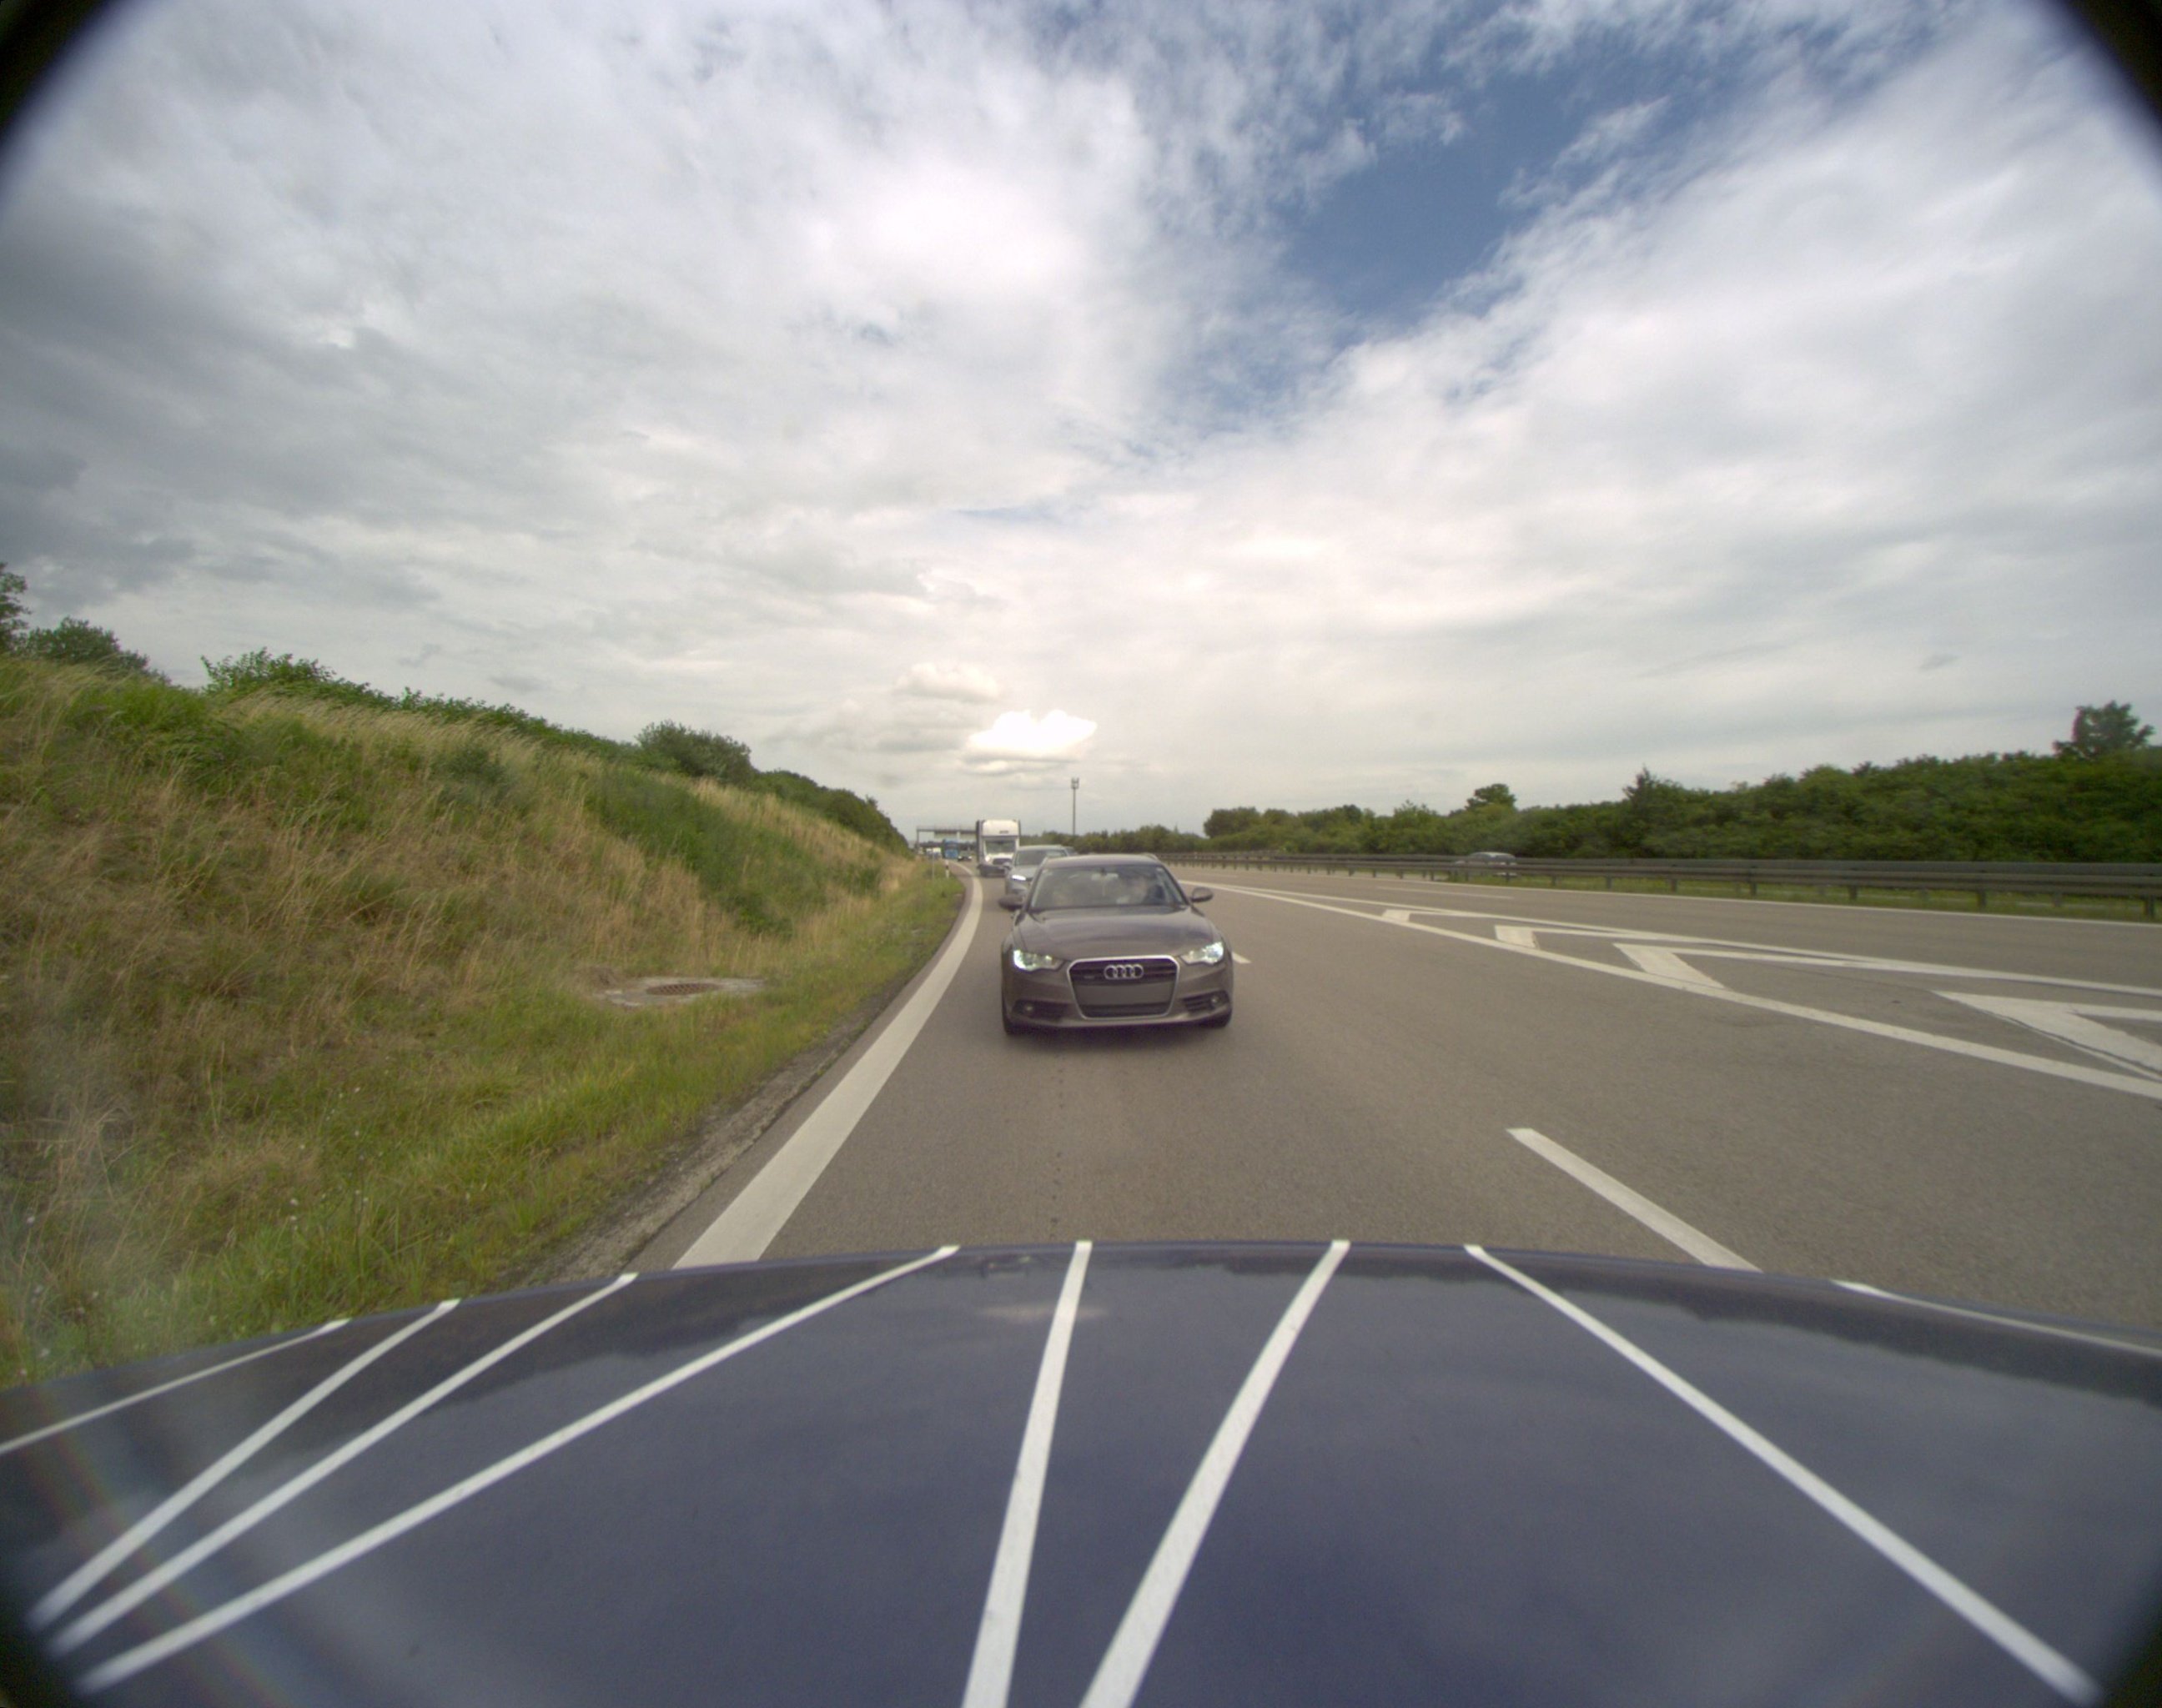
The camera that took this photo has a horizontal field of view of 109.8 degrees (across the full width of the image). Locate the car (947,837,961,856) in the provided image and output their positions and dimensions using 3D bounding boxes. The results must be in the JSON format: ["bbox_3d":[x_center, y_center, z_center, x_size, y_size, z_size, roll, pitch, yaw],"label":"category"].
[{"bbox_3d":[-25.605,-1.429,152.801,2.507,3.689,7.693,-1,1,-12],"label":"car"}]

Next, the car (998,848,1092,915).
[{"bbox_3d":[-1.068,0.638,20.160,2.000,1.567,3.996,-1,1,-10],"label":"car"}]

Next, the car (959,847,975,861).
[{"bbox_3d":[-16.110,-0.034,107.199,2.000,2.002,3.995,-1,1,-11],"label":"car"}]

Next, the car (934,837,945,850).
[{"bbox_3d":[-40.639,-2.951,217.545,2.948,3.447,6.563,-1,1,-12],"label":"car"}]

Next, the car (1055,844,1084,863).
[{"bbox_3d":[-1.143,-0.058,72.048,2.000,1.751,4.919,-1,1,-11],"label":"car"}]

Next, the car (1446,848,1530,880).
[{"bbox_3d":[21.718,0.487,40.739,1.810,1.587,3.995,-1,1,-12],"label":"car"}]

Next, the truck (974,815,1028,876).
[{"bbox_3d":[-4.742,-0.503,43.706,2.451,3.217,7.183,-1,1,-11],"label":"truck"}]

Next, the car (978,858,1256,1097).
[{"bbox_3d":[0.194,0.844,7.156,1.849,1.489,4.027,-2,1,-2],"label":"car"}]
